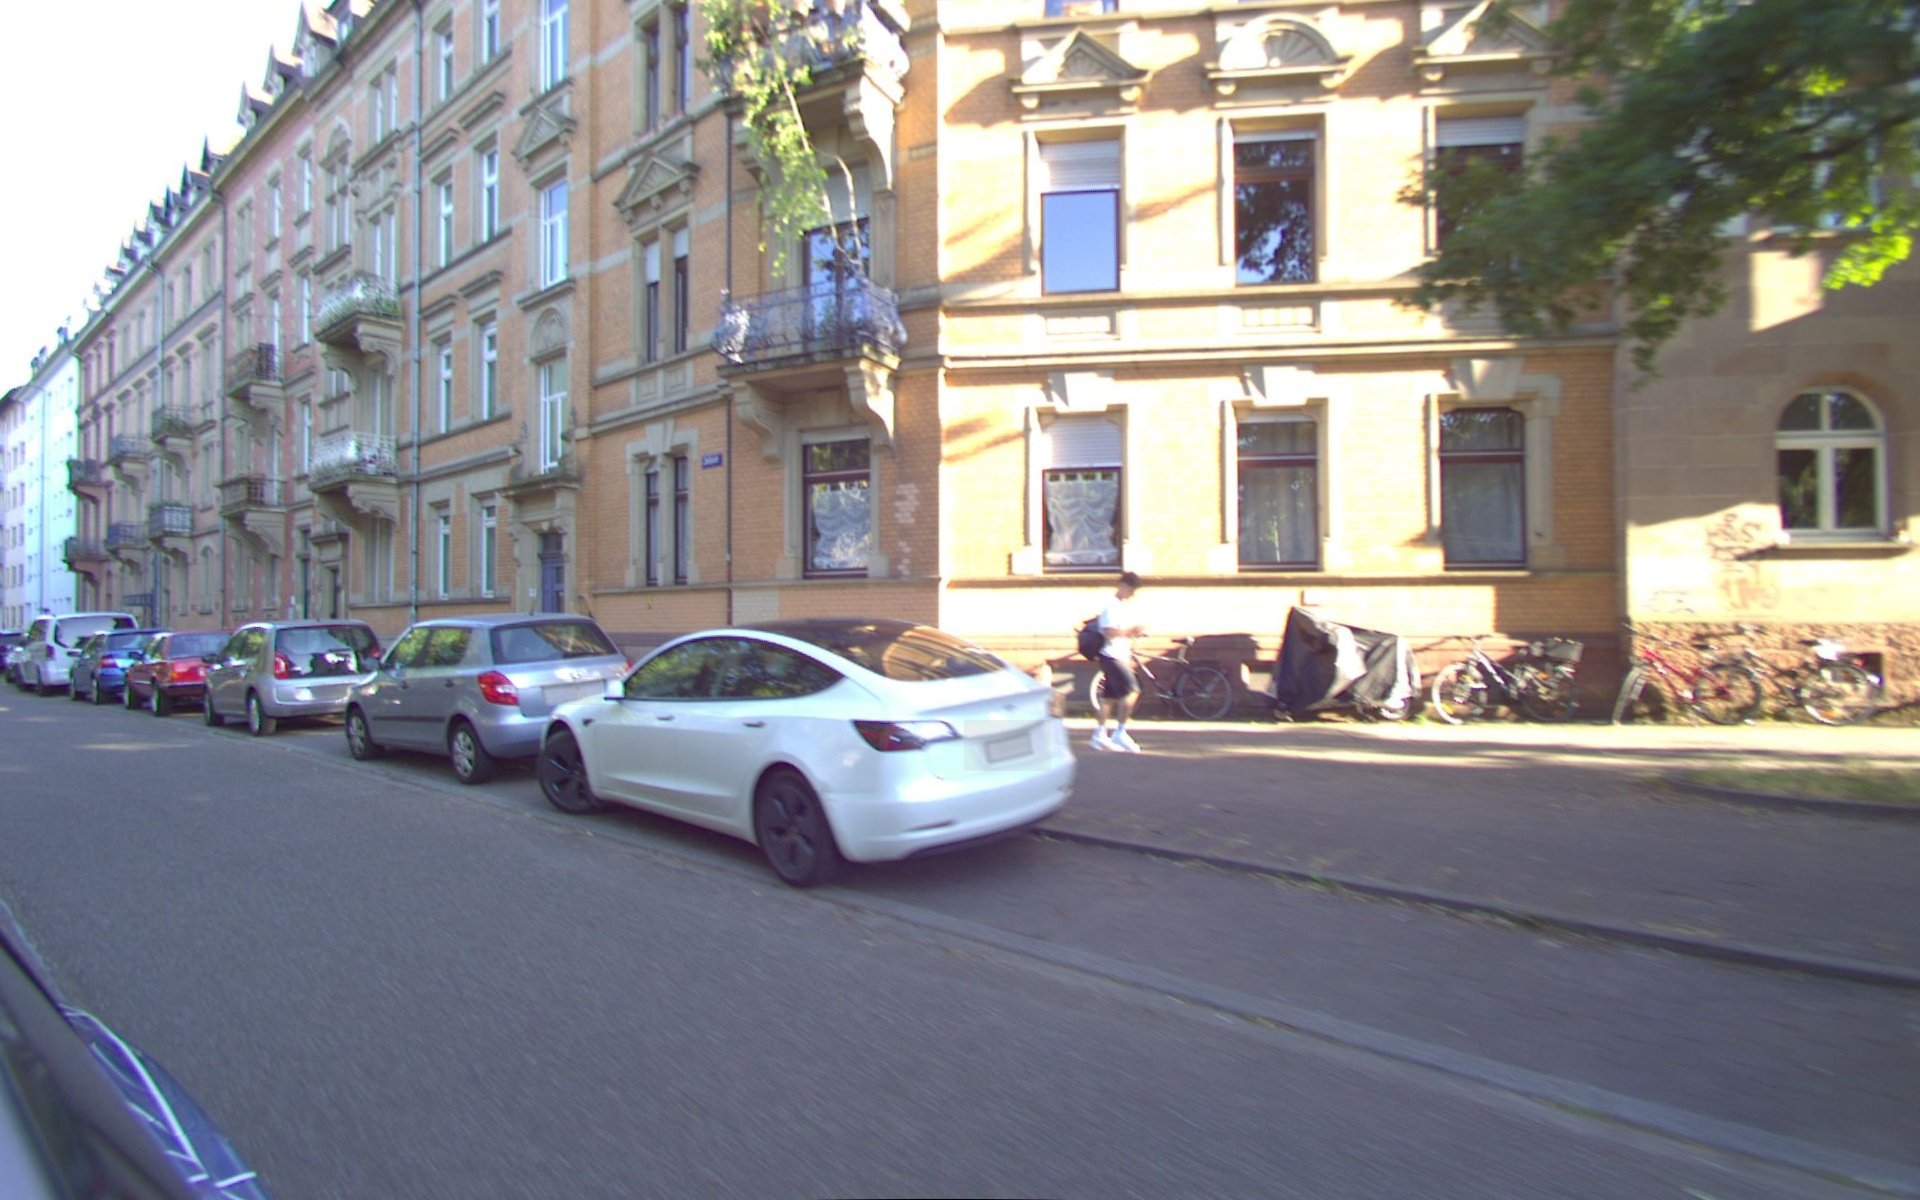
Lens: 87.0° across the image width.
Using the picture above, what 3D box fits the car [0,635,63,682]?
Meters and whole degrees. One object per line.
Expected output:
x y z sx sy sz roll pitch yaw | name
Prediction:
-32.537 1.987 34.896 4.390 1.452 1.856 -2 -1 41 | car

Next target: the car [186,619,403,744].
-9.460 1.067 14.289 3.708 1.486 1.666 -2 -1 42 | car

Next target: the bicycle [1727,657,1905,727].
9.379 1.000 11.117 1.491 0.738 0.414 -1 -2 6 | bicycle

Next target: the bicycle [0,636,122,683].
-30.119 1.981 33.907 0.817 1.496 3.003 -2 -4 41 | bicycle

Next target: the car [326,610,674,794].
-4.754 0.906 10.240 3.878 1.486 1.667 -2 -1 40 | car

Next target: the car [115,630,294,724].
-13.362 1.271 17.799 4.289 1.394 1.744 -2 -1 42 | car

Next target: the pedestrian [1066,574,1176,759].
1.569 0.631 9.997 0.898 1.731 0.676 -2 0 -3 | pedestrian

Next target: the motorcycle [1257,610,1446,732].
4.587 0.829 11.983 1.875 1.363 0.808 -1 -2 6 | motorcycle

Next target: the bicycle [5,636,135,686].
-28.206 1.915 32.133 0.817 1.496 3.003 -2 -4 41 | bicycle

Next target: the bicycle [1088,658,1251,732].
2.536 1.152 12.389 1.875 0.854 0.524 -1 -2 6 | bicycle

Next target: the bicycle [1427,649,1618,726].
6.594 1.025 11.934 1.875 0.854 0.524 -1 -2 6 | bicycle

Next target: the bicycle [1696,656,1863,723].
9.319 1.010 11.534 1.491 0.738 0.368 -1 -2 6 | bicycle

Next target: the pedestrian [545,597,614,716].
-5.751 0.831 15.296 0.721 1.731 0.666 -2 -1 41 | pedestrian

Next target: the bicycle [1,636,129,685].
-28.858 1.937 32.699 0.817 1.496 3.003 -2 -4 41 | bicycle

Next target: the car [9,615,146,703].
-21.559 1.390 24.658 4.723 1.897 1.887 -2 -1 41 | car

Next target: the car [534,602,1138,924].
-1.097 0.830 6.897 4.271 1.486 1.756 -2 -1 44 | car

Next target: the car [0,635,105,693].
-25.766 1.756 28.557 4.390 1.452 1.856 -2 -1 41 | car

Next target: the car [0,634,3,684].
-31.439 1.875 31.594 4.390 1.548 1.856 -2 -1 41 | car

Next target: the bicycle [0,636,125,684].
-29.509 1.960 33.300 0.817 1.496 3.003 -2 -4 41 | bicycle

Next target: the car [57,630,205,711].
-17.264 1.403 21.013 3.886 1.449 1.745 -2 -1 41 | car
